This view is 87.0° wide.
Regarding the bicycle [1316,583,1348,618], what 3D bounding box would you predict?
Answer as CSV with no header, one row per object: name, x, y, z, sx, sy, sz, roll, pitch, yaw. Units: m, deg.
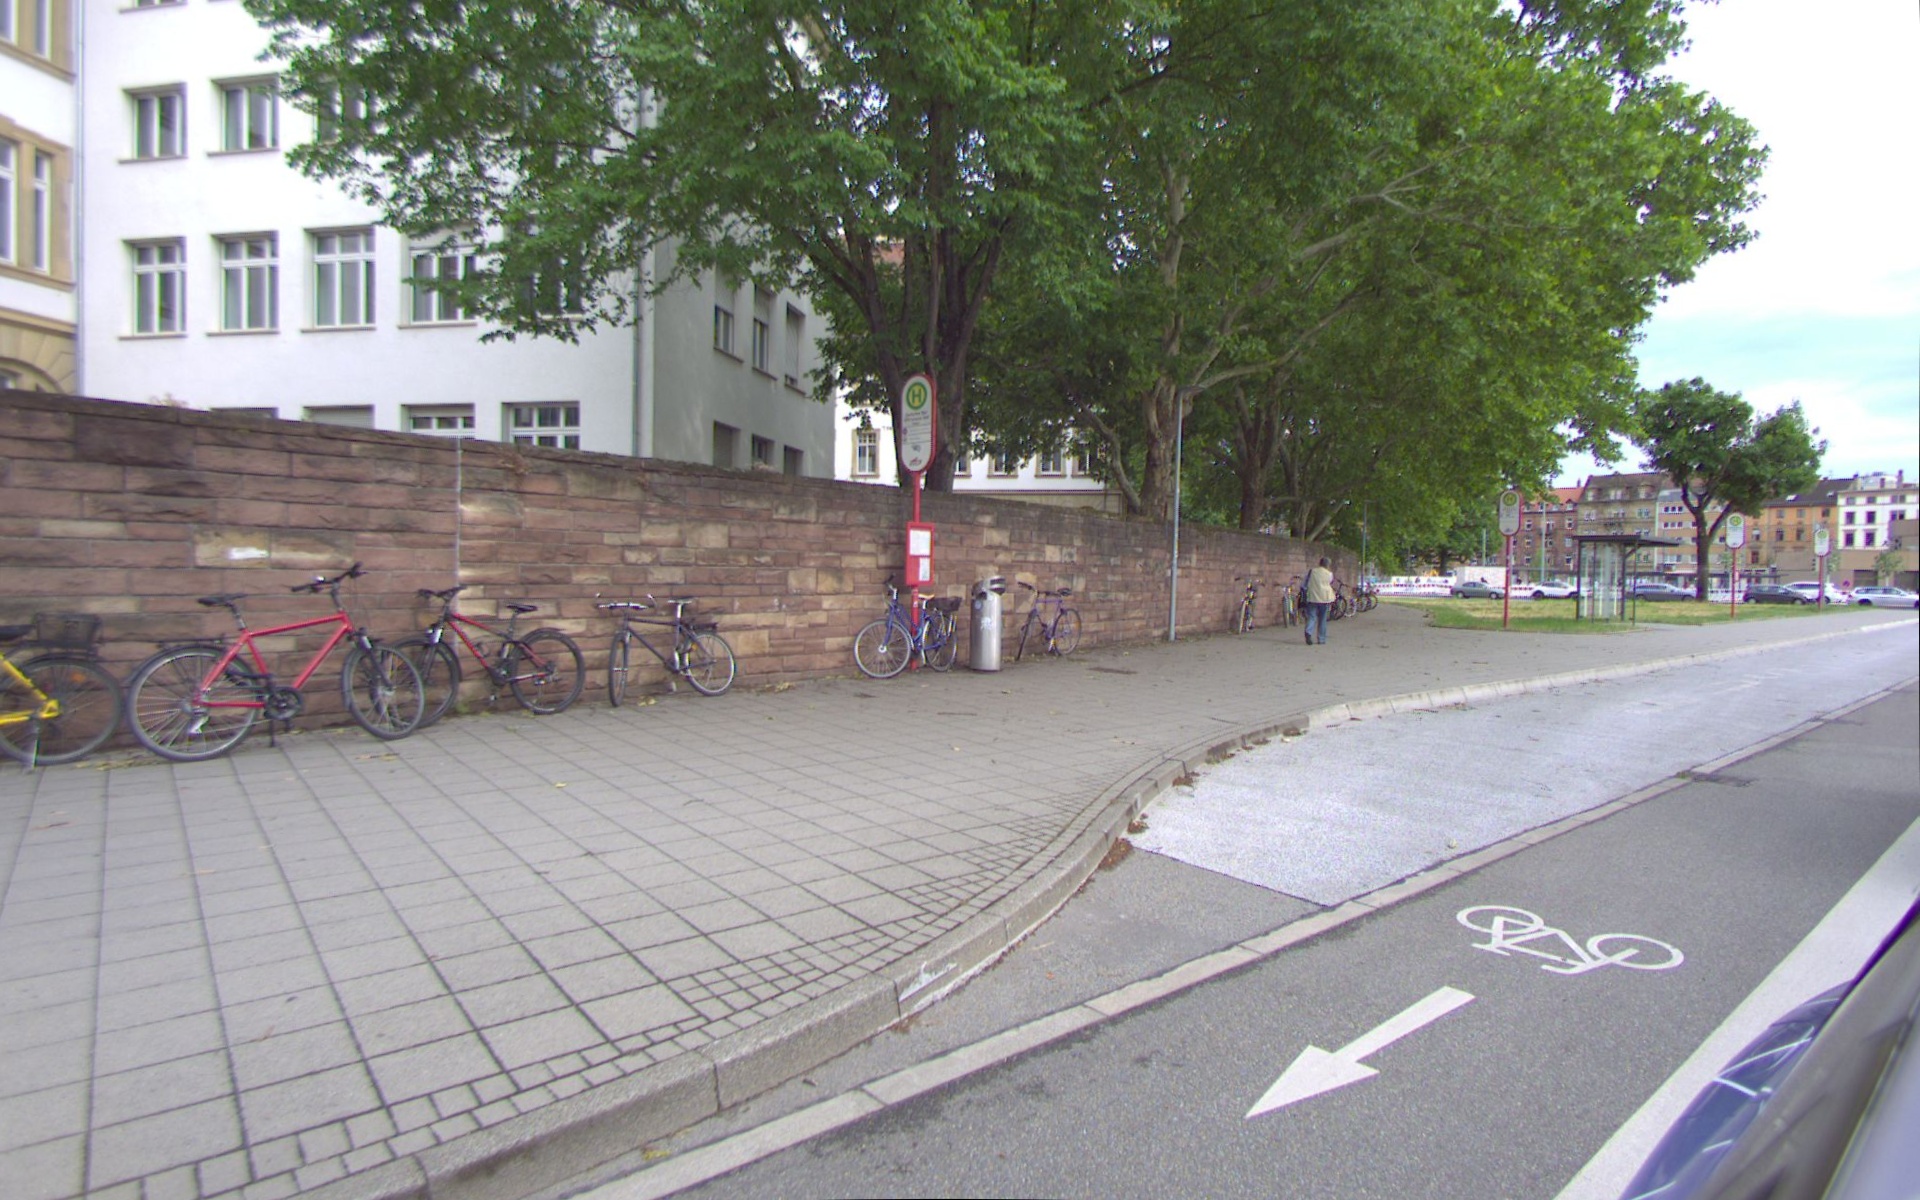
bicycle,10.689,-0.005,29.050,0.648,0.951,1.939,2,2,27

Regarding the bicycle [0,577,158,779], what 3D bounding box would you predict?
bicycle,-5.778,0.450,5.751,0.383,1.158,1.922,0,0,29

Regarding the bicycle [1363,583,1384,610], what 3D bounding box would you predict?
bicycle,17.245,-0.163,42.174,0.686,1.098,1.639,2,2,26

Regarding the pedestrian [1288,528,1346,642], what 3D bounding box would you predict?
pedestrian,6.627,-0.289,18.777,0.778,2.038,0.879,3,1,32

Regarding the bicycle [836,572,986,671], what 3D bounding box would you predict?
bicycle,-0.540,0.220,12.061,0.476,1.089,2.051,2,2,42

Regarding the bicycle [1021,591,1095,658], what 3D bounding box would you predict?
bicycle,1.439,0.328,14.683,0.290,0.896,1.590,2,2,36

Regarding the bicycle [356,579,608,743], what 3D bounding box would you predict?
bicycle,-3.703,0.418,8.031,0.336,1.158,1.919,0,0,33

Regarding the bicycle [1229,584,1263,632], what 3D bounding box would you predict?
bicycle,5.980,0.147,21.133,0.361,0.951,1.626,2,2,27

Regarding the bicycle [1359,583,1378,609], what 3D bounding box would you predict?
bicycle,15.544,-0.150,38.506,0.555,0.951,1.342,2,2,26

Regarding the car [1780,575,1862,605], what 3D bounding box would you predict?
car,61.222,-0.702,72.079,4.260,2.039,1.974,0,0,37

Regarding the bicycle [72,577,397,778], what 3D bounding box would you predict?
bicycle,-4.739,0.435,6.803,0.381,1.158,1.930,0,0,18

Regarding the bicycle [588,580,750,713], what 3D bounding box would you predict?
bicycle,-2.711,0.398,9.588,0.336,1.158,1.658,0,0,33

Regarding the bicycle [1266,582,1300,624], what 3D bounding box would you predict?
bicycle,7.823,0.045,24.460,0.477,0.951,1.882,2,2,27

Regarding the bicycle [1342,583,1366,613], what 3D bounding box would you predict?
bicycle,13.121,-0.075,33.660,0.563,0.951,1.752,2,2,26
